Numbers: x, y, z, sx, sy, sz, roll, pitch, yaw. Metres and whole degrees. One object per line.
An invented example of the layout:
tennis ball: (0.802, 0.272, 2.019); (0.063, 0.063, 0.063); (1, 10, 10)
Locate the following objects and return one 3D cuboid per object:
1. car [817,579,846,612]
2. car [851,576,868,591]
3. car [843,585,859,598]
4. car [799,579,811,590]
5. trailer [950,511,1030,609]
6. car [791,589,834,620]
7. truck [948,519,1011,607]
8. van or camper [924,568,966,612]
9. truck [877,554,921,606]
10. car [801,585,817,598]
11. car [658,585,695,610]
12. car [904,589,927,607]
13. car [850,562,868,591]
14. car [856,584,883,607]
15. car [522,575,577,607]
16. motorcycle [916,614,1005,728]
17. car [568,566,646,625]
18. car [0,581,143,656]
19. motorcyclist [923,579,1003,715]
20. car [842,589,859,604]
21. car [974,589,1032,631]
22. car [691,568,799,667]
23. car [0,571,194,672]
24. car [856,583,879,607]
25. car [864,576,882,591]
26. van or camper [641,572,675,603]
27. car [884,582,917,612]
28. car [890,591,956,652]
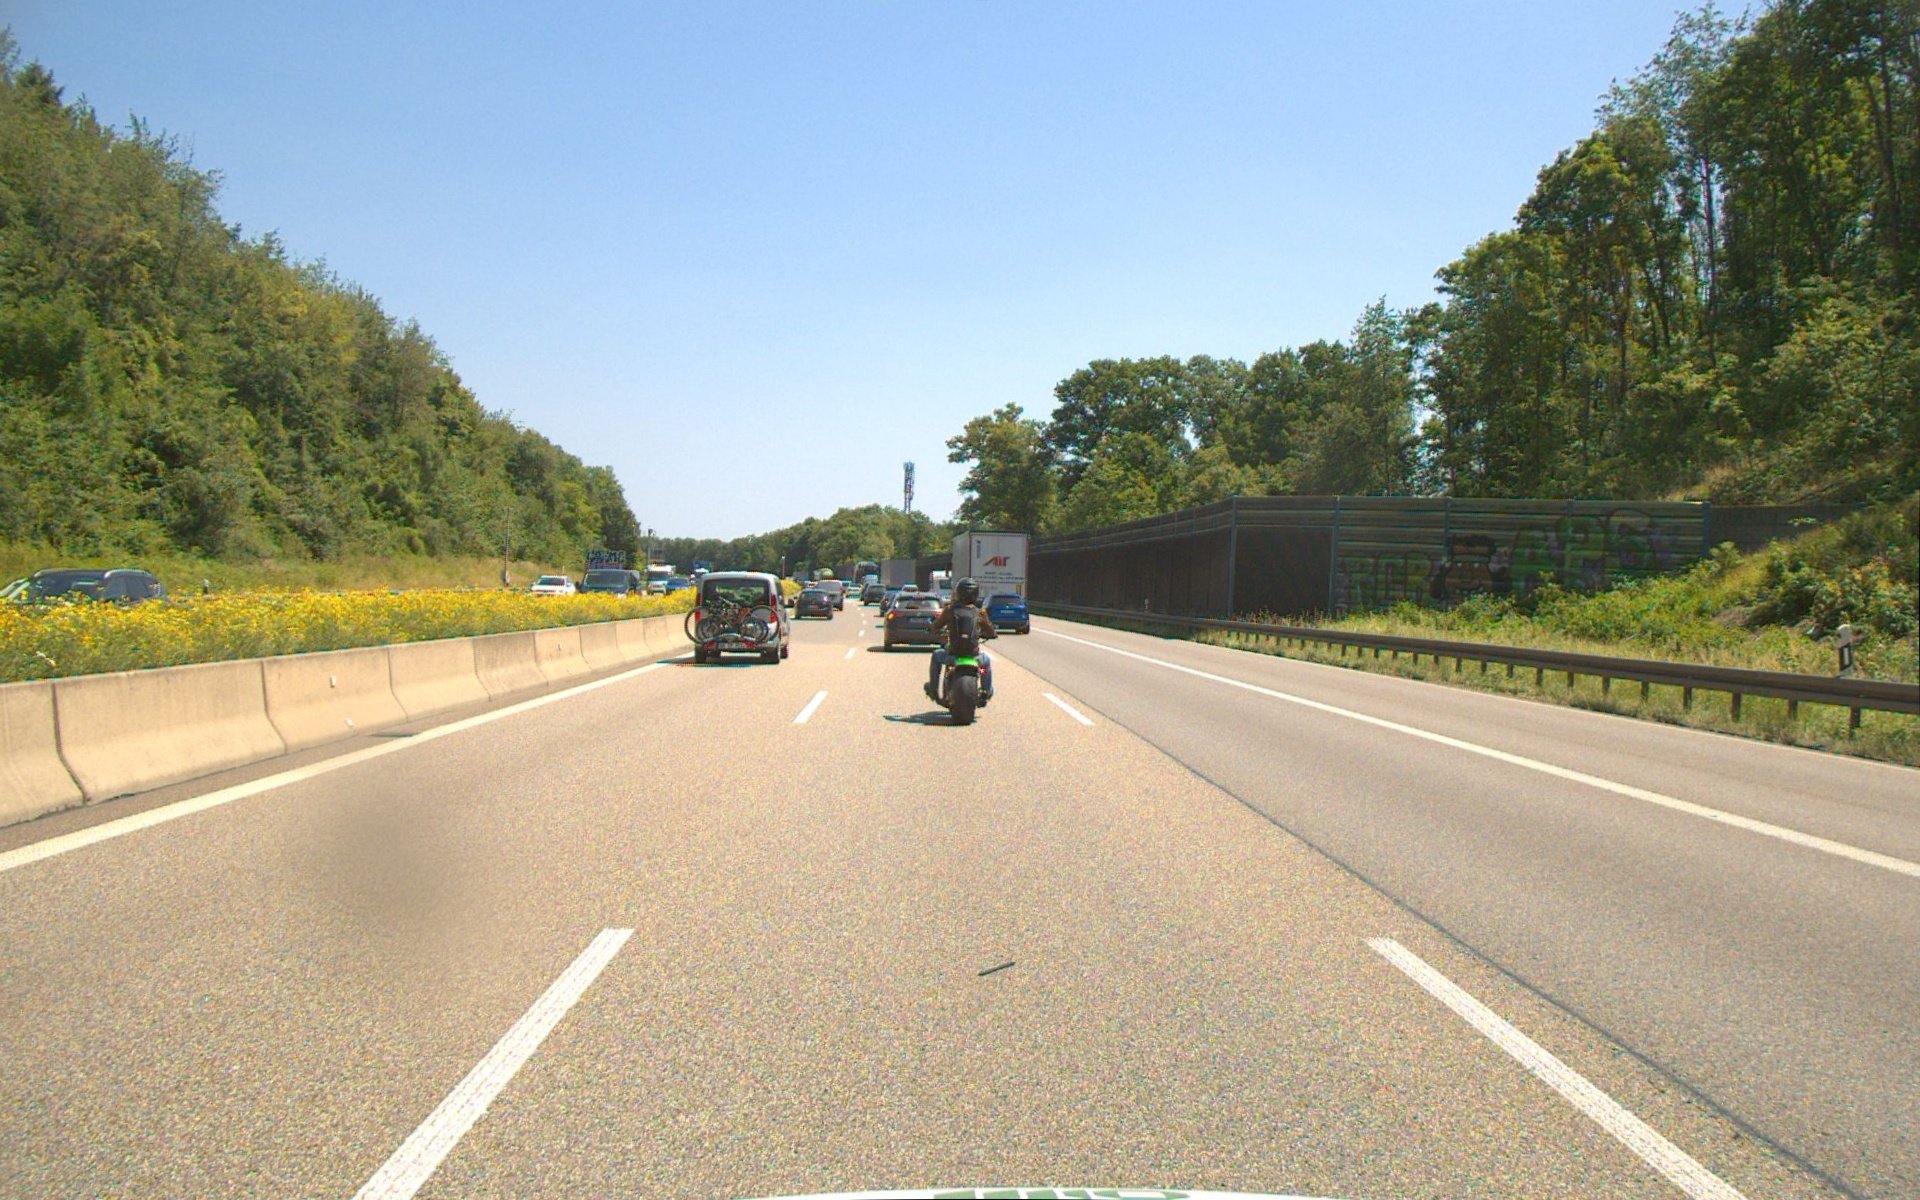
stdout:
car: (-8.115, -0.281, 104.615); (1.756, 2.049, 3.639); (1, -1, -3)
car: (-13.072, -2.133, 215.751); (2.067, 1.909, 3.995); (1, -1, -6)
car: (-12.933, -0.998, 195.778); (1.796, 1.522, 3.740); (1, -1, -4)
car: (-22.569, -2.190, 240.906); (1.797, 1.522, 3.738); (1, -1, -6)
trailer: (1.228, -1.743, 76.634); (2.828, 4.109, 13.788); (1, 0, -3)
car: (-7.088, 0.231, 79.749); (1.954, 1.411, 3.997); (1, -1, -3)
truck: (0.936, -1.823, 83.230); (2.828, 4.218, 5.983); (1, 0, -3)
van or camper: (-1.073, -0.654, 113.099); (2.631, 2.862, 6.799); (1, -1, -3)
truck: (-6.199, -1.912, 166.559); (3.730, 5.046, 8.937); (1, -1, -7)
car: (-17.753, -0.987, 195.032); (1.796, 1.522, 3.740); (1, -1, -4)
car: (-19.571, -0.149, 114.401); (1.954, 1.720, 4.398); (1, -1, -3)
car: (-4.096, -0.213, 152.508); (1.954, 1.601, 3.996); (1, -1, -4)
car: (-13.937, -3.247, 228.671); (2.092, 3.929, 8.132); (1, 1, -6)
car: (-6.834, -0.300, 125.348); (1.954, 1.669, 3.998); (1, -1, -3)
car: (-21.413, -0.476, 86.500); (1.954, 1.645, 4.481); (1, 1, -3)
motorcycle: (0.028, 0.787, 19.446); (0.945, 1.168, 2.812); (1, 1, 1)
car: (-12.801, -0.138, 60.216); (1.953, 2.049, 4.419); (1, -1, -1)
car: (-19.080, 0.382, 34.629); (1.953, 1.467, 4.170); (1, -1, -2)
motorcyclist: (0.053, 0.532, 19.362); (0.881, 1.501, 1.872); (0, -1, 1)
car: (-11.353, -0.348, 171.276); (1.796, 1.522, 3.740); (1, -1, -4)
car: (1.558, 0.372, 60.998); (1.618, 1.508, 4.476); (1, -1, -5)
car: (-4.405, 0.366, 34.456); (1.861, 1.906, 4.409); (1, -1, -3)
car: (-14.423, 0.340, 27.058); (1.953, 1.512, 3.999); (1, -1, -1)
car: (-8.430, -0.445, 150.161); (1.874, 2.049, 3.686); (1, -1, -6)
car: (-11.085, -2.077, 210.398); (2.067, 1.909, 3.995); (1, -1, -6)
van or camper: (-26.552, -1.071, 145.617); (2.143, 2.605, 6.927); (1, -1, -4)
car: (-3.200, -0.160, 89.763); (1.743, 1.579, 3.583); (1, -1, -2)
car: (-0.996, 0.546, 42.772); (1.629, 1.478, 3.867); (1, -1, -3)
